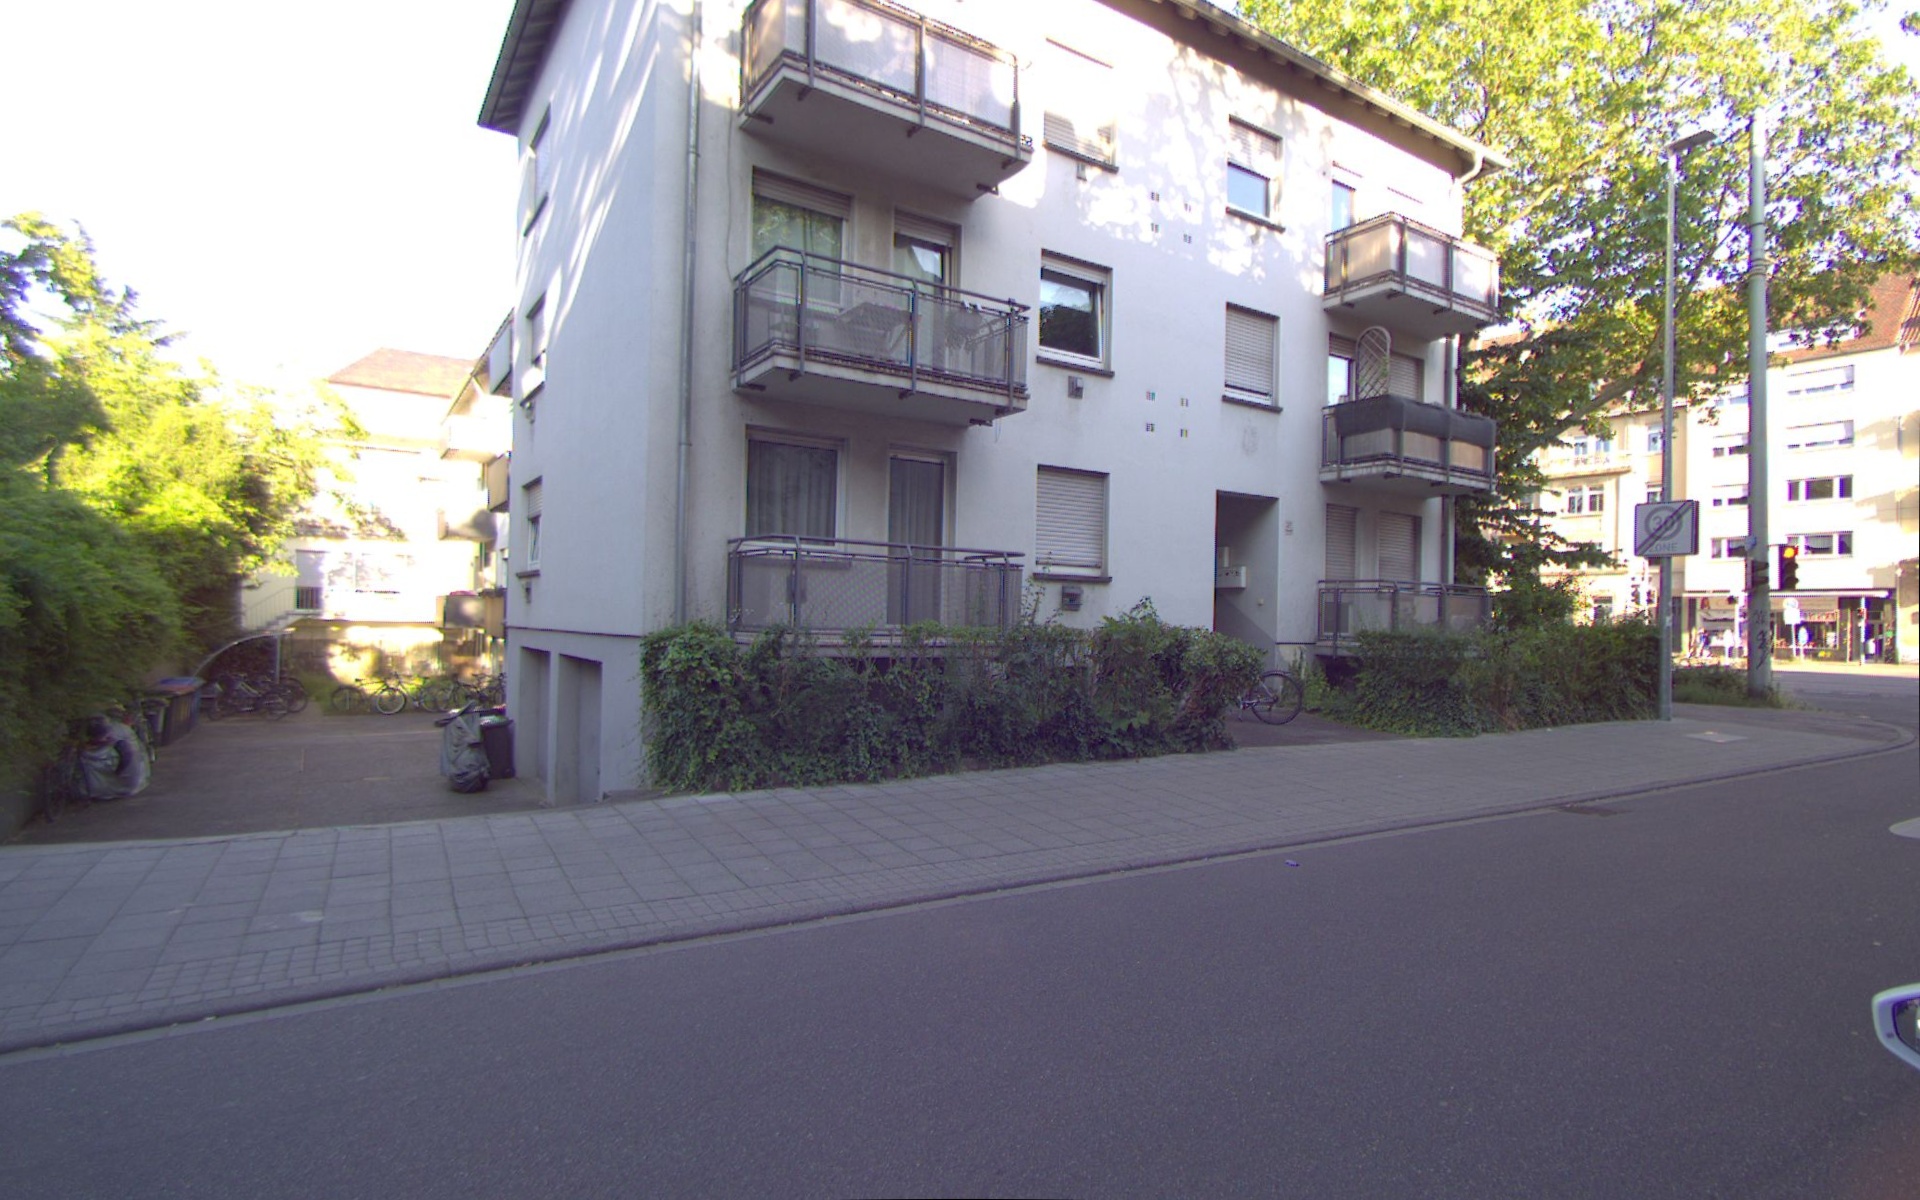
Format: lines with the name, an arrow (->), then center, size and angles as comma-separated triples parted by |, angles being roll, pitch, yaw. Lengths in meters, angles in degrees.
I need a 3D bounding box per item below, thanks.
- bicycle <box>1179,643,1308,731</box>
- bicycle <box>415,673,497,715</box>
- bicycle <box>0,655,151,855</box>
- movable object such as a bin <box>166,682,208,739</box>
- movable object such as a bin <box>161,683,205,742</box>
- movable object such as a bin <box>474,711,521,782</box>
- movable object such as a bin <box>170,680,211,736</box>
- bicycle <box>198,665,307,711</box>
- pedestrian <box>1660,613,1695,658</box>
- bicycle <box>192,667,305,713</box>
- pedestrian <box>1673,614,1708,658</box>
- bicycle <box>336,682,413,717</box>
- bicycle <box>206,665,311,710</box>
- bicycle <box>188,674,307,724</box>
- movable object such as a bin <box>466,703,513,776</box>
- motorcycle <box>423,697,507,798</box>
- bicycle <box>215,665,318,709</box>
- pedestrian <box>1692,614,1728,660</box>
bicycle -> 3.826, 1.153, 13.566 | 1.590, 1.022, 0.517 | 3, 1, 20
bicycle -> -13.915, 2.580, 27.741 | 1.982, 1.085, 0.561 | 2, -4, -30
bicycle -> -10.604, 1.659, 11.975 | 0.961, 1.917, 4.156 | 1, -2, -32
movable object such as a bin -> -15.933, 2.263, 20.719 | 0.606, 1.129, 0.795 | 1, -3, -33
movable object such as a bin -> -15.492, 2.230, 20.049 | 0.606, 1.129, 0.795 | 1, -3, -33
movable object such as a bin -> -7.404, 2.330, 16.085 | 0.606, 1.051, 0.534 | 1, -3, -34
movable object such as a bin -> -16.366, 2.293, 21.381 | 0.606, 1.129, 0.795 | 1, -3, -33
bicycle -> -19.029, 2.357, 27.087 | 2.311, 1.192, 0.689 | 2, -4, -30
pedestrian -> 40.904, 2.024, 57.240 | 1.049, 2.497, 1.338 | 1, 0, -34
bicycle -> -18.603, 2.331, 26.340 | 2.311, 1.148, 0.689 | 2, -4, -30
pedestrian -> 42.384, 2.091, 58.290 | 1.049, 2.497, 1.338 | 1, 0, -34
bicycle -> -15.569, 2.631, 26.741 | 1.734, 0.890, 0.561 | 2, -4, -30
bicycle -> -19.375, 2.411, 27.811 | 2.311, 1.192, 0.689 | 2, -4, -30
bicycle -> -17.339, 2.388, 24.521 | 2.268, 1.148, 0.689 | 2, -4, -30
movable object such as a bin -> -7.919, 2.331, 16.897 | 0.606, 1.129, 0.795 | 1, -3, -33
motorcycle -> -7.407, 2.155, 15.003 | 0.739, 1.313, 1.563 | 2, -2, -41
bicycle -> -19.646, 2.457, 28.536 | 2.311, 1.192, 0.689 | 2, -4, -30
pedestrian -> 42.302, 2.080, 56.630 | 1.049, 2.497, 1.338 | 1, 0, -34
